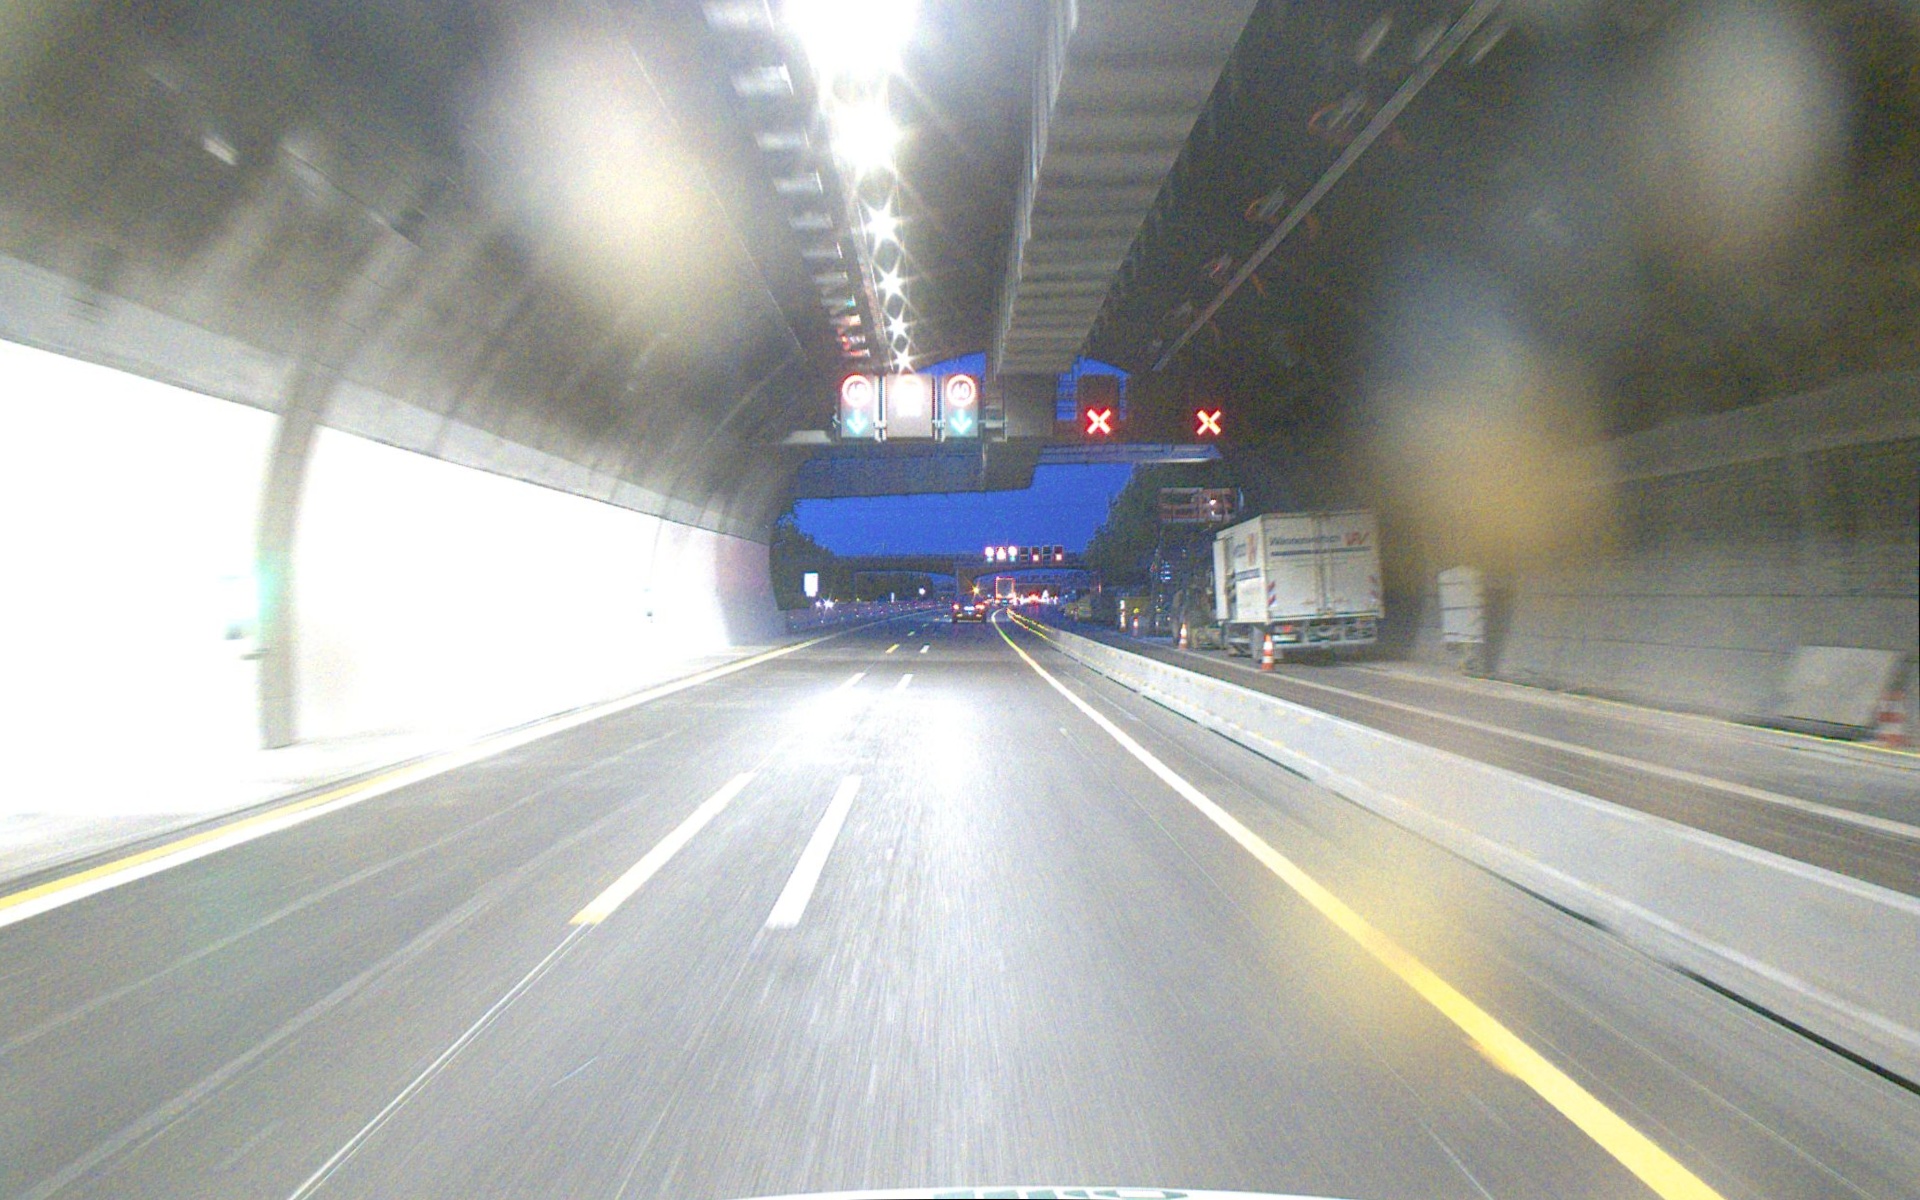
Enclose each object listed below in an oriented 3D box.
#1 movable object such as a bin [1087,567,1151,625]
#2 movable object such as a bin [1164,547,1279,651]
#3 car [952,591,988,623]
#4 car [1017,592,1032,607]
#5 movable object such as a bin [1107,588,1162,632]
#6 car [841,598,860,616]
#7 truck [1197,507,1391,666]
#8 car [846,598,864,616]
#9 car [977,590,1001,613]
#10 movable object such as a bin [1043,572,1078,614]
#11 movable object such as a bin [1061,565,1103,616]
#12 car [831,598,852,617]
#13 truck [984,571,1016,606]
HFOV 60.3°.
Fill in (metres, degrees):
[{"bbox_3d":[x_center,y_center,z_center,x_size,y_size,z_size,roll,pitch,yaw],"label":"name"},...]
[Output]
[{"bbox_3d":[8.084,-0.188,84.747,2.681,2.802,7.049,0,0,1],"label":"movable object such as a bin"},{"bbox_3d":[7.657,-0.011,49.204,2.192,2.843,7.231,0,0,-1],"label":"movable object such as a bin"},{"bbox_3d":[0.547,0.362,87.853,1.849,1.635,4.000,0,0,1],"label":"car"},{"bbox_3d":[9.032,-0.111,232.401,1.952,2.049,4.000,1,0,1],"label":"car"},{"bbox_3d":[7.569,0.415,72.151,1.938,1.847,3.836,0,0,-1],"label":"movable object such as a bin"},{"bbox_3d":[-12.499,0.815,189.381,1.953,2.049,3.999,0,0,-1],"label":"car"},{"bbox_3d":[7.657,-0.277,39.140,2.833,3.329,8.399,0,0,-1],"label":"truck"},{"bbox_3d":[-12.460,0.831,196.305,1.953,2.049,3.999,0,0,-1],"label":"car"},{"bbox_3d":[2.624,0.099,149.442,1.951,2.049,4.002,1,0,4],"label":"car"},{"bbox_3d":[8.709,-0.606,143.422,2.681,3.516,6.947,0,0,1],"label":"movable object such as a bin"},{"bbox_3d":[9.135,-0.669,124.264,2.681,3.743,6.333,0,0,1],"label":"movable object such as a bin"},{"bbox_3d":[-12.831,0.788,179.282,1.953,2.049,3.999,0,0,-1],"label":"car"},{"bbox_3d":[5.866,-1.695,244.041,4.452,5.074,9.599,0,0,1],"label":"truck"}]
